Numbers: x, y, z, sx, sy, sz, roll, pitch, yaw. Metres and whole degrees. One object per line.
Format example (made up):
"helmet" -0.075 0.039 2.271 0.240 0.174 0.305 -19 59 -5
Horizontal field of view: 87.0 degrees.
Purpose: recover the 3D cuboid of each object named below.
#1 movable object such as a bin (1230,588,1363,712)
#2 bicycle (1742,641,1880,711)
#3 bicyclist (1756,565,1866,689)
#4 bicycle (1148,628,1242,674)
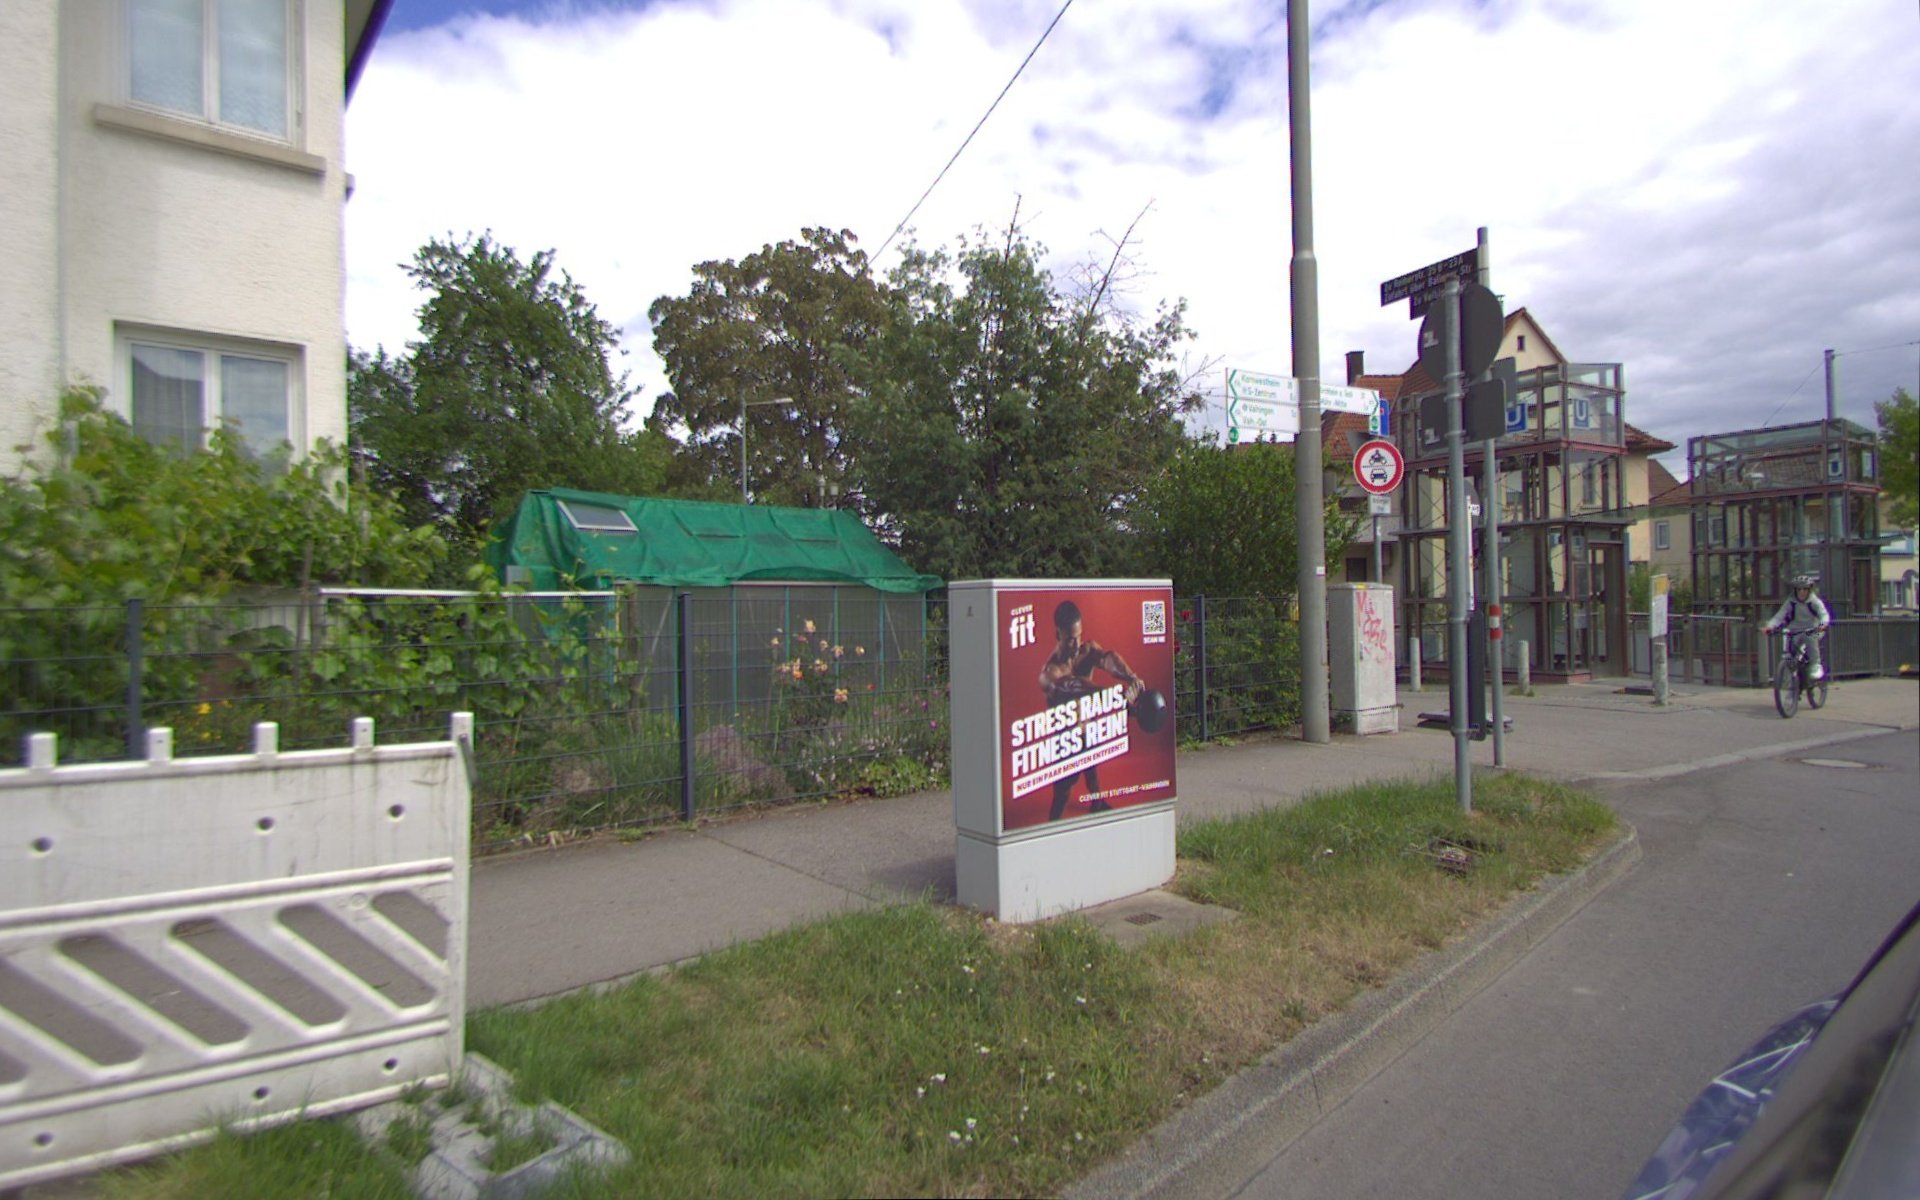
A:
"movable object such as a bin" 4.285 0.607 12.964 0.983 1.489 1.274 0 -1 -24
"bicycle" 10.376 0.898 12.318 2.021 0.763 0.638 0 -1 -31
"bicyclist" 10.329 0.320 12.281 1.155 1.434 0.658 1 -2 -31
"bicycle" 5.610 1.194 24.111 2.420 0.993 0.569 0 -1 -30
